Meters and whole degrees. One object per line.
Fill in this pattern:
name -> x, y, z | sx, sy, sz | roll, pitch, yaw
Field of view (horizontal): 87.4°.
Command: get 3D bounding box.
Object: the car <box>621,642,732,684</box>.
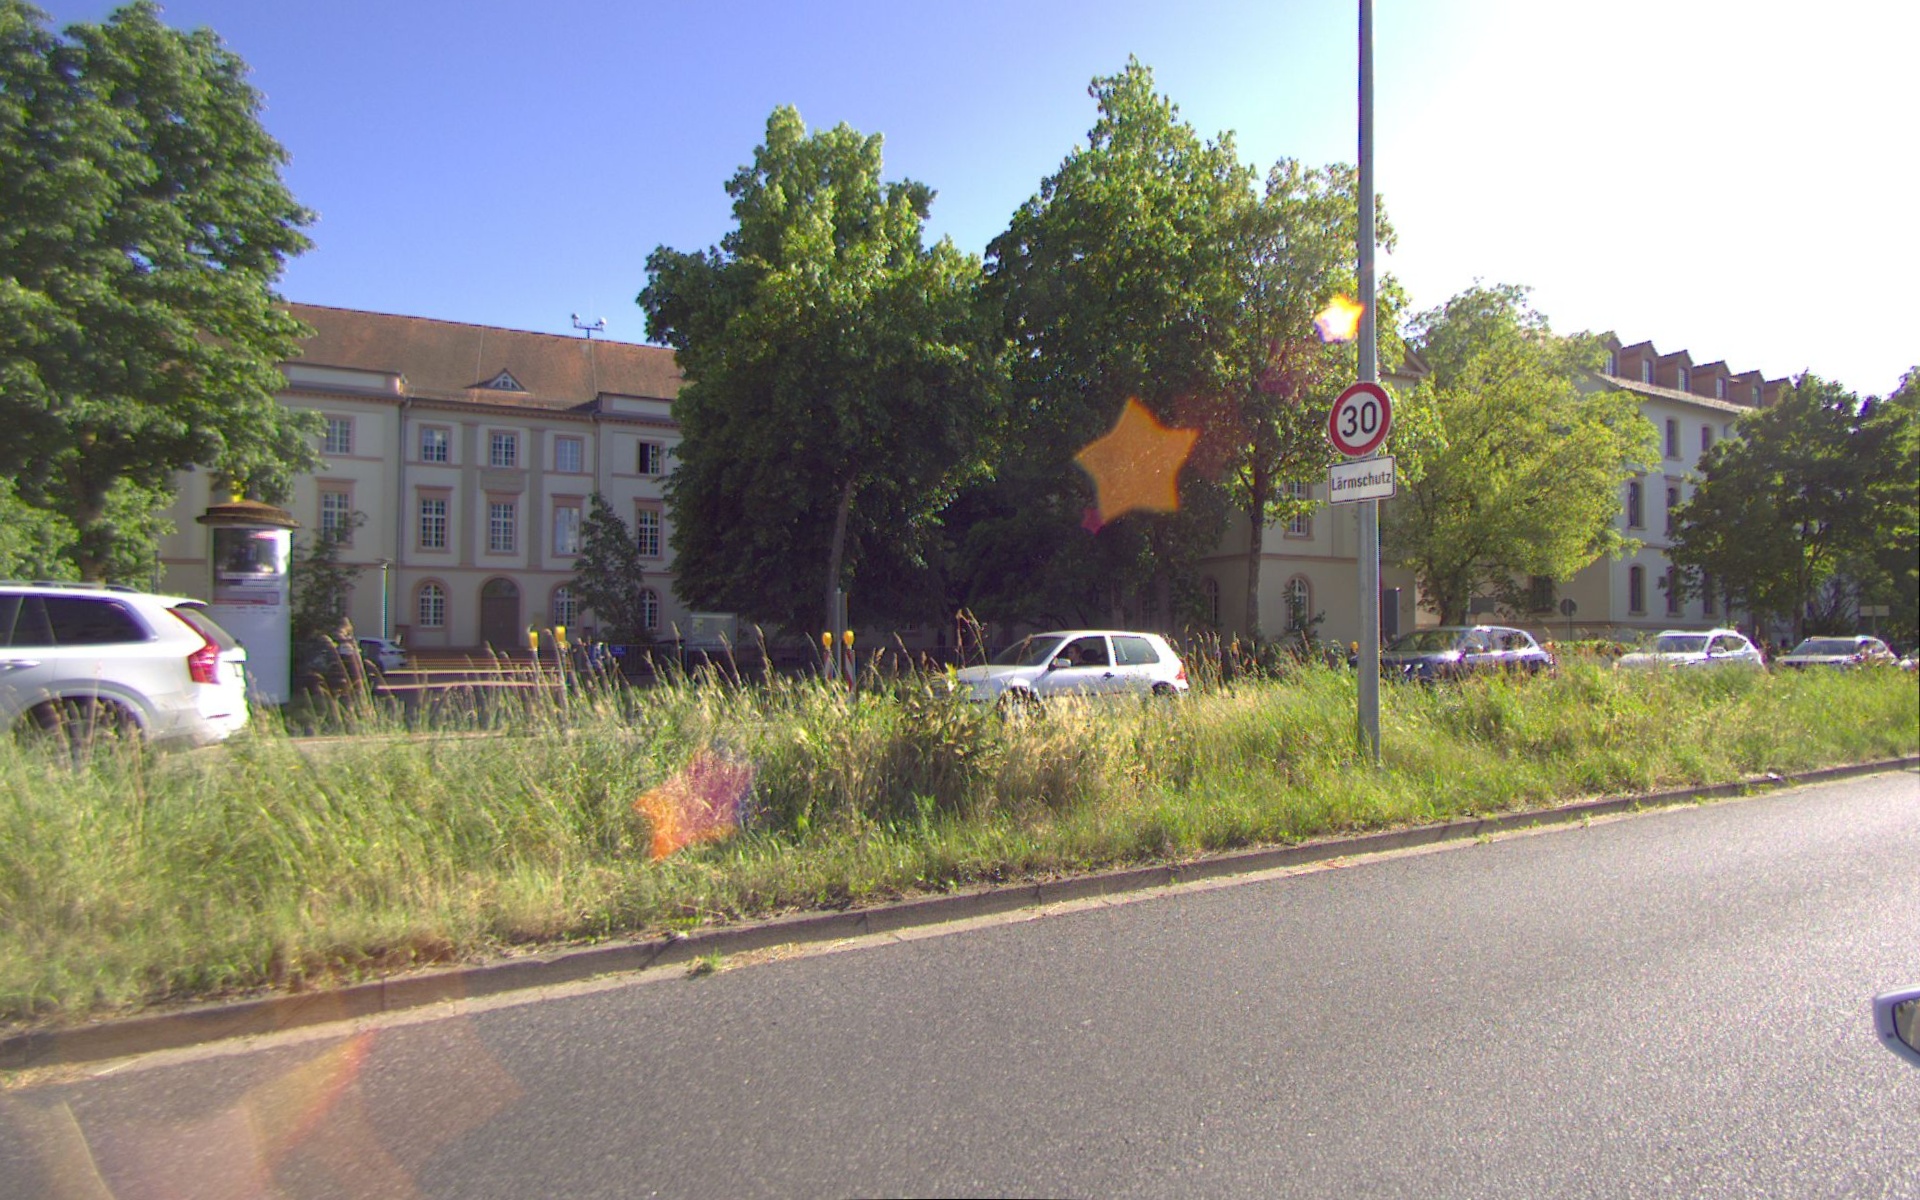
car -> -9.505, 2.093, 33.626 | 3.448, 1.341, 1.764 | 1, -2, -20

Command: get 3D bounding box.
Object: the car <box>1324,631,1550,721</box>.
car -> 9.137, 1.387, 19.148 | 4.394, 1.539, 1.787 | 2, -2, -31

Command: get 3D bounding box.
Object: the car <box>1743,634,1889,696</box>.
car -> 23.689, 1.803, 27.773 | 4.209, 1.539, 1.787 | 3, -2, -30

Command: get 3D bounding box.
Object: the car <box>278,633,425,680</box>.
car -> -23.216, 2.171, 38.493 | 4.632, 1.511, 1.634 | 5, -3, -30

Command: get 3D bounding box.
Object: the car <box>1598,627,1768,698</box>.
car -> 17.170, 1.437, 23.832 | 4.210, 1.539, 1.787 | 2, -2, -31

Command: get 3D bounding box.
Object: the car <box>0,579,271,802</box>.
car -> -8.801, 0.715, 8.285 | 4.975, 1.766, 1.787 | 2, -2, -31

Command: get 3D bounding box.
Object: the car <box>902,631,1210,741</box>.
car -> 1.439, 1.159, 14.522 | 4.210, 1.369, 1.787 | 2, -2, -31

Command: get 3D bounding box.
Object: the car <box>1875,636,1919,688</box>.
car -> 30.648, 1.923, 31.261 | 4.609, 1.539, 1.831 | 2, -2, -29
